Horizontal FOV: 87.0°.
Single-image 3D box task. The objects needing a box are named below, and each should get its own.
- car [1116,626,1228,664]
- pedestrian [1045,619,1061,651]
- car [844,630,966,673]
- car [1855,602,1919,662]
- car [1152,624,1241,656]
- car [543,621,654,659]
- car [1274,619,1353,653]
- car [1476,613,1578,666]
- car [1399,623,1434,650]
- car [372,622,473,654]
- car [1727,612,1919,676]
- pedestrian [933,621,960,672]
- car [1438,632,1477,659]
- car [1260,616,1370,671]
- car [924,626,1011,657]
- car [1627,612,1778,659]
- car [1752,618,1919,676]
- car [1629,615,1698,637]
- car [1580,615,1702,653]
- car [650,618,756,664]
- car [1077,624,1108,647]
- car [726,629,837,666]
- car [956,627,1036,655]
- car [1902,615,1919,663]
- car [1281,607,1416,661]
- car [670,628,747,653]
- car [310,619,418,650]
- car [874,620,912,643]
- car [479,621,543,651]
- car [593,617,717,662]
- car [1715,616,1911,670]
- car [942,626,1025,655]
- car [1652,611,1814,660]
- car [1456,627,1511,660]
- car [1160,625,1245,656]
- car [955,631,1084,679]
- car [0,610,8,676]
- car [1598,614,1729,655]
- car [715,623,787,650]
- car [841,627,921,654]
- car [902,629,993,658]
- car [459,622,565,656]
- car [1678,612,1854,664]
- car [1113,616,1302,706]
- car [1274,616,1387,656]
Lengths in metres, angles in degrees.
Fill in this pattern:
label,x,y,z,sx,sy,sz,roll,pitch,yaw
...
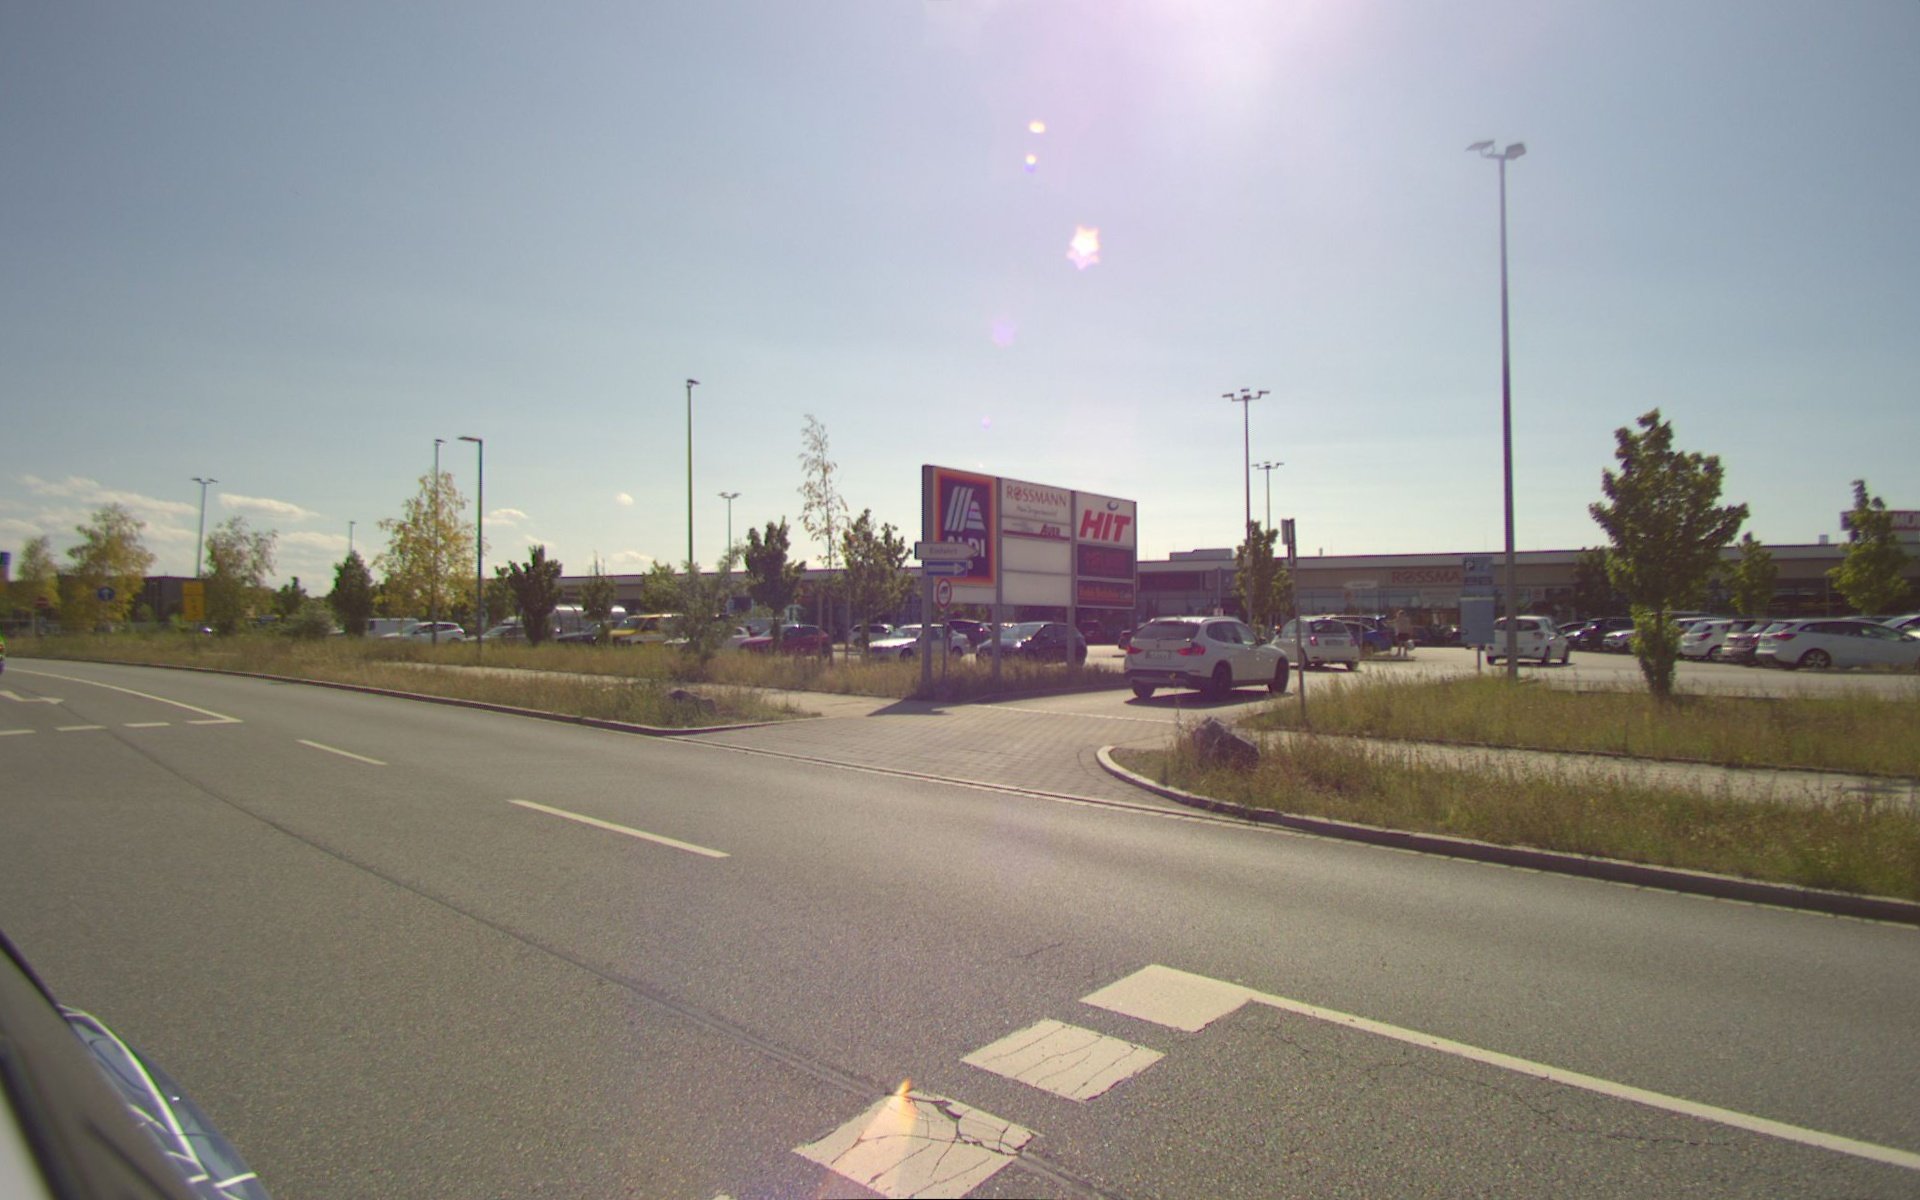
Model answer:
label,x,y,z,sx,sy,sz,roll,pitch,yaw
car,8.715,1.830,41.546,4.320,1.528,1.706,-1,-2,19
pedestrian,5.234,1.970,57.018,0.775,1.838,0.566,0,-2,21
car,-1.842,1.736,34.752,1.935,1.358,4.102,-2,-3,40
car,34.626,1.119,35.360,4.600,2.040,1.825,0,-2,21
car,12.204,2.054,52.132,4.320,1.556,1.706,-1,-2,19
car,-16.902,1.877,47.500,1.877,1.685,4.728,-1,-2,34
car,20.987,2.123,60.188,4.320,1.974,1.706,-1,-2,19
car,17.741,1.212,31.600,1.917,1.559,3.943,-1,-2,43
car,29.534,2.368,65.553,1.704,1.646,4.326,-1,-2,19
car,-29.703,2.108,56.093,1.993,1.685,4.555,-1,-2,32
car,25.845,1.287,30.167,4.350,1.817,1.904,0,-2,21
pedestrian,-0.452,1.552,34.324,0.578,1.708,0.757,-1,-2,40
car,31.709,2.876,64.640,1.704,1.646,4.326,-1,-2,19
car,10.531,1.271,30.366,1.891,1.559,3.999,0,-2,1
car,0.391,2.181,53.422,4.320,1.561,1.706,-1,-2,19
car,29.276,1.377,40.062,4.343,1.807,1.907,0,-2,17
car,24.627,1.250,27.612,4.350,1.523,1.825,0,-2,21
car,58.447,2.147,84.182,4.350,1.804,1.904,0,-2,21
car,31.854,1.576,47.469,4.343,1.731,1.907,0,-2,17
car,-10.947,1.729,43.278,1.930,1.875,4.104,-2,-3,38
car,9.642,2.571,73.525,1.701,1.646,4.334,-1,-2,14
car,-7.066,1.866,40.298,1.935,1.358,4.102,-2,-3,40
car,2.098,2.368,58.513,4.320,1.544,1.706,-1,-2,19
car,33.840,1.287,32.830,4.350,1.594,1.825,0,-2,21
car,15.001,1.316,39.322,4.796,2.001,1.706,-1,-2,19
car,-15.332,2.466,61.738,4.319,1.538,1.707,-1,-2,18
car,-34.346,1.996,58.460,1.990,1.685,5.150,-1,-2,26
car,-5.225,2.487,79.597,1.701,1.821,4.334,-1,-2,14
car,-40.256,3.266,90.895,1.924,2.607,5.686,-1,-2,17
car,-14.178,1.827,47.367,1.994,1.980,5.636,-1,-2,33
car,27.169,1.347,32.439,4.350,1.630,1.904,0,-2,21
car,1.290,2.230,56.196,4.320,1.584,1.706,-1,-2,19
car,28.750,1.311,37.802,4.341,1.739,1.908,0,-2,15
car,25.819,2.119,50.039,1.826,1.559,3.974,0,-2,19
car,13.040,2.154,54.430,4.320,1.628,1.706,-1,-2,19
car,1.901,1.653,31.283,1.935,1.358,4.102,-2,-3,40
car,-26.758,1.188,26.423,4.770,1.656,2.089,-3,-3,38
car,31.167,1.518,44.960,4.343,1.738,1.907,0,-2,17
car,-13.834,2.398,66.941,4.553,1.754,1.704,-1,-2,22
car,-4.551,2.323,58.187,4.324,1.538,1.705,-1,-2,22
car,-0.630,2.170,50.898,4.320,1.428,1.706,-1,-2,19
car,-23.008,1.992,52.147,1.994,1.685,4.663,-1,-2,33
car,27.980,1.312,35.283,4.334,1.731,1.911,0,-2,11
car,4.917,1.108,19.747,1.916,1.559,4.169,-1,-2,41
car,15.384,1.489,42.187,4.320,1.593,1.706,-1,-2,19
